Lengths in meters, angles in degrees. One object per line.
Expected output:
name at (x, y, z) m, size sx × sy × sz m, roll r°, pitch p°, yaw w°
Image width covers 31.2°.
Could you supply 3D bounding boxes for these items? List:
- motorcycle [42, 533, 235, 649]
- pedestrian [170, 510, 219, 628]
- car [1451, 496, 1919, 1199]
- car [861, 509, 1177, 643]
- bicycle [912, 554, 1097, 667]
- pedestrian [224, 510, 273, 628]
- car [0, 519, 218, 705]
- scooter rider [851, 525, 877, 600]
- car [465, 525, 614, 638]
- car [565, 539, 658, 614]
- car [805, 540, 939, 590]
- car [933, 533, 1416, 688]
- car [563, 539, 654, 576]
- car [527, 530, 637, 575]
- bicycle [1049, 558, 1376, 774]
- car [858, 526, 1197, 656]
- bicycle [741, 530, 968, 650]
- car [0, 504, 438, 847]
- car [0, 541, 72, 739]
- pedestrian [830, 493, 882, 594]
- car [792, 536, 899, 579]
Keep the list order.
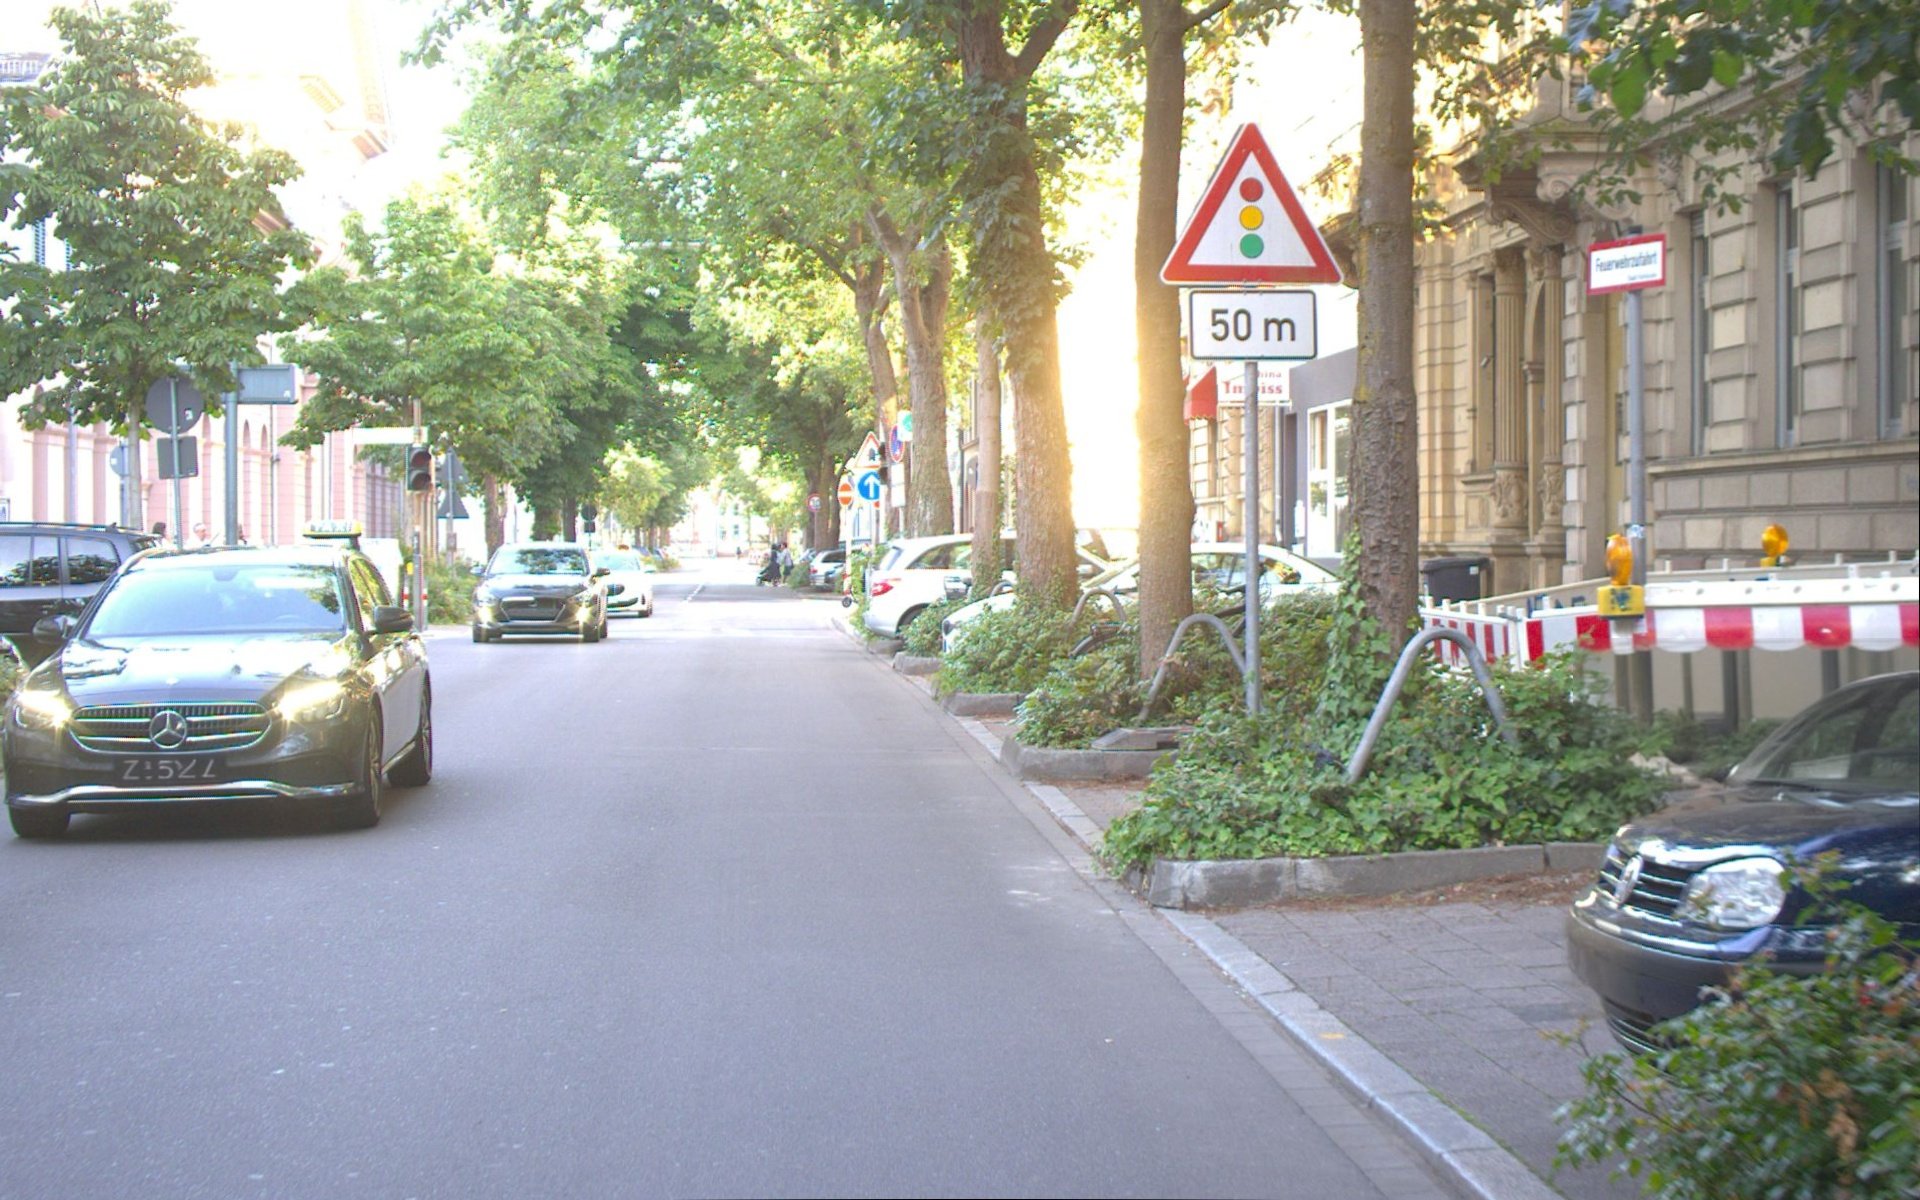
motorcycle at (-10.255, -0.115, 42.932) m, size 2.150 × 1.414 × 0.967 m, roll 0°, pitch 0°, yaw 18°
pedestrian at (-12.060, -0.488, 54.176) m, size 0.554 × 1.844 × 0.611 m, roll 0°, pitch 1°, yaw 12°
car at (3.439, 0.442, 7.917) m, size 4.223 × 1.476 × 1.855 m, roll -3°, pitch 1°, yaw -3°
car at (0.852, -0.377, 51.725) m, size 4.539 × 1.908 × 1.951 m, roll -1°, pitch 1°, yaw -6°
bicycle at (0.513, 0.116, 39.474) m, size 2.019 × 1.200 × 0.488 m, roll -2°, pitch 1°, yaw -16°
pedestrian at (-11.192, -0.485, 54.069) m, size 0.554 × 1.844 × 0.611 m, roll 0°, pitch 1°, yaw 11°
car at (-9.017, 0.075, 31.392) m, size 4.092 × 1.626 × 1.936 m, roll 1°, pitch 1°, yaw -2°
scooter rider at (-2.317, -0.903, 82.896) m, size 0.494 × 1.785 × 0.874 m, roll 0°, pitch 0°, yaw 6°
car at (-6.074, -0.291, 50.041) m, size 1.876 × 1.543 × 4.276 m, roll -1°, pitch 1°, yaw -4°
car at (-7.472, -0.528, 73.971) m, size 1.876 × 1.543 × 4.276 m, roll -1°, pitch 1°, yaw -5°
car at (-2.839, -1.123, 110.200) m, size 4.192 × 1.475 × 1.852 m, roll -2°, pitch 1°, yaw -3°
car at (2.050, 0.081, 33.875) m, size 4.583 × 1.432 × 1.925 m, roll -1°, pitch 1°, yaw -1°
car at (-20.387, -2.451, 199.600) m, size 5.063 × 2.076 × 2.263 m, roll -1°, pitch 1°, yaw -2°
car at (-17.948, -2.264, 163.350) m, size 5.063 × 2.076 × 2.263 m, roll -1°, pitch 1°, yaw -4°
bicycle at (1.646, 0.426, 22.534) m, size 2.046 × 1.356 × 0.508 m, roll 1°, pitch 1°, yaw -5°
car at (0.843, -0.135, 44.103) m, size 4.224 × 1.555 × 1.971 m, roll -1°, pitch 1°, yaw 0°
bicycle at (-1.489, -0.142, 48.335) m, size 3.112 × 1.657 × 0.658 m, roll 1°, pitch 1°, yaw -8°
car at (-4.012, 0.324, 19.000) m, size 1.876 × 1.635 × 4.647 m, roll -1°, pitch 1°, yaw -5°
car at (-8.968, 0.227, 25.936) m, size 4.074 × 1.435 × 1.755 m, roll 2°, pitch 1°, yaw -2°
pedestrian at (-2.221, -1.199, 73.476) m, size 1.043 × 2.139 × 1.063 m, roll 1°, pitch 0°, yaw -3°
car at (-4.388, -1.627, 131.246) m, size 4.014 × 1.617 × 1.781 m, roll -1°, pitch 1°, yaw -4°
